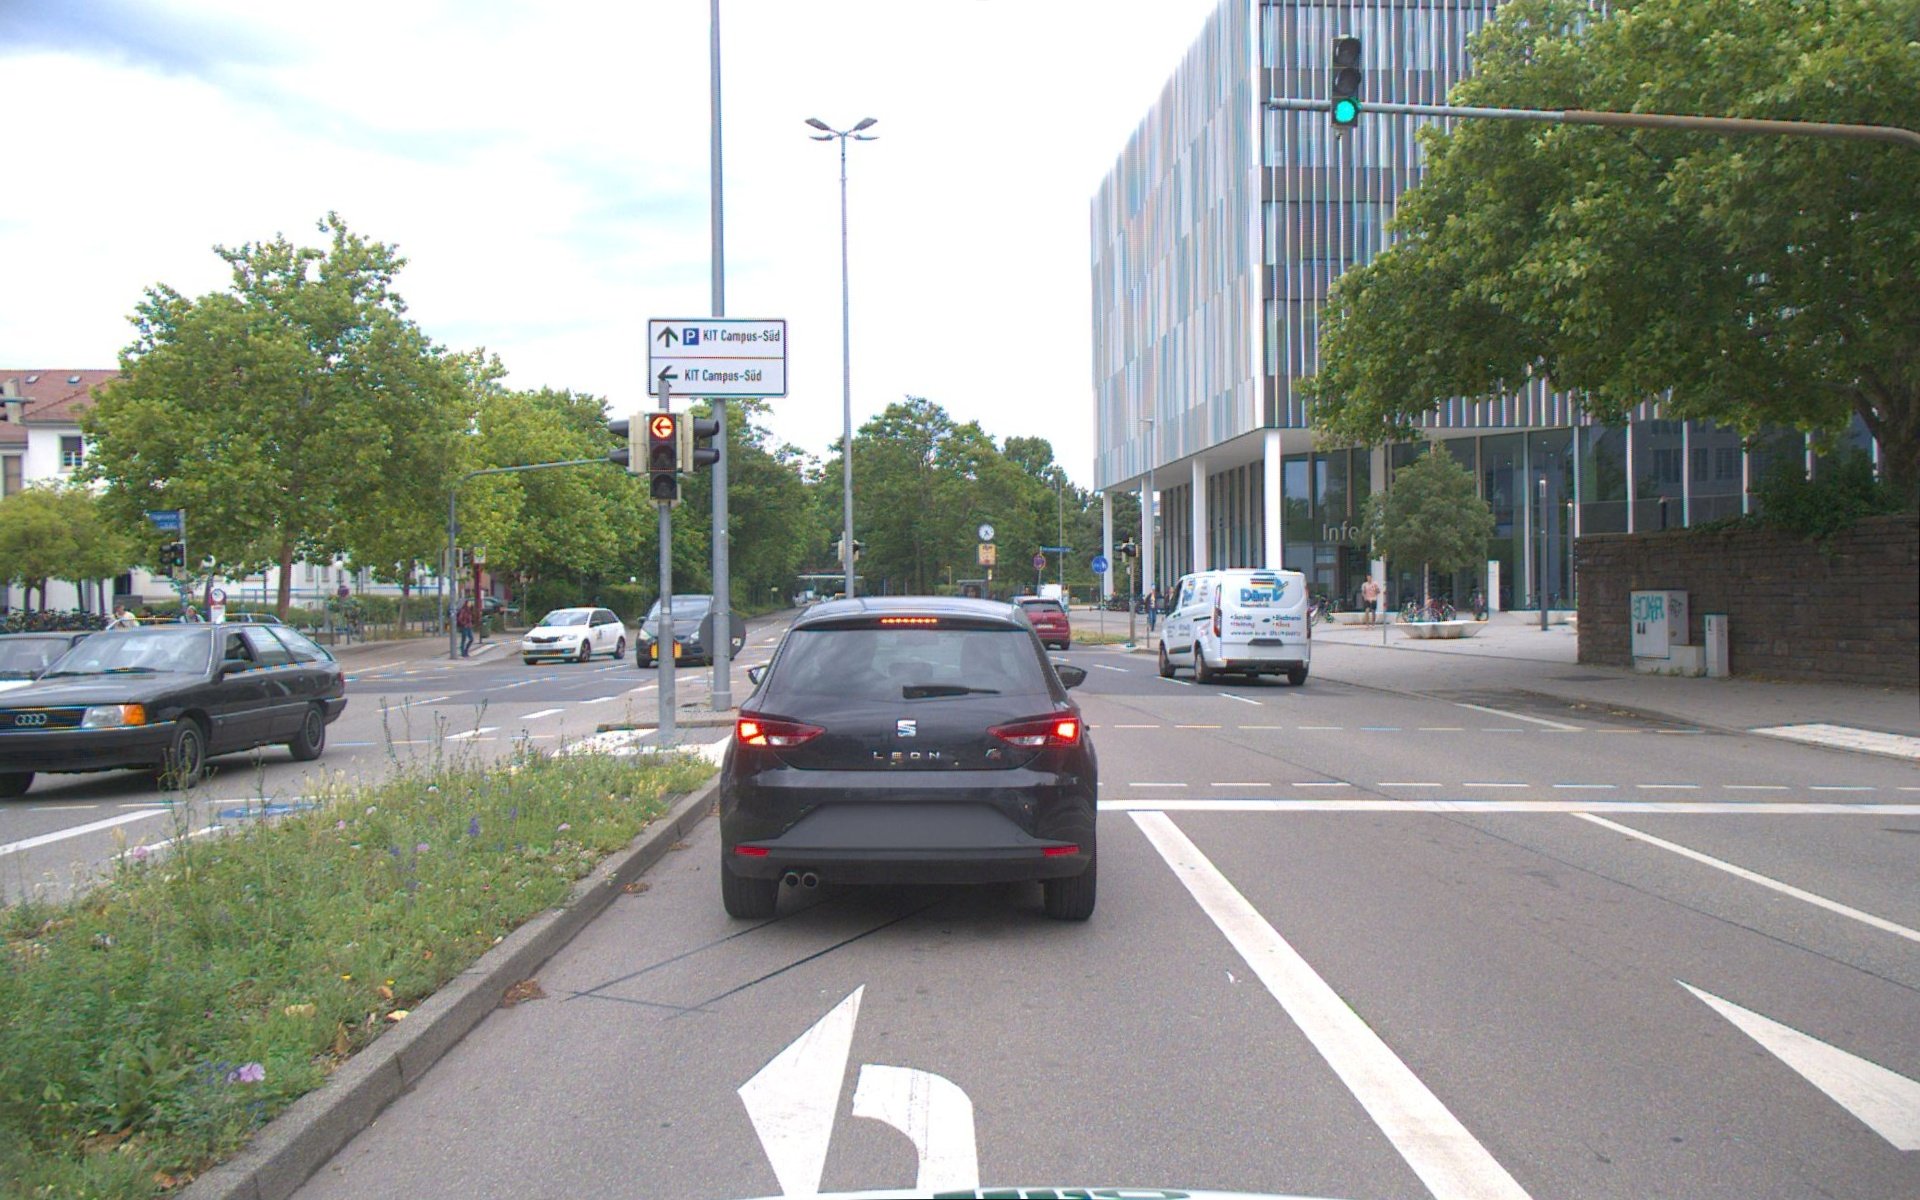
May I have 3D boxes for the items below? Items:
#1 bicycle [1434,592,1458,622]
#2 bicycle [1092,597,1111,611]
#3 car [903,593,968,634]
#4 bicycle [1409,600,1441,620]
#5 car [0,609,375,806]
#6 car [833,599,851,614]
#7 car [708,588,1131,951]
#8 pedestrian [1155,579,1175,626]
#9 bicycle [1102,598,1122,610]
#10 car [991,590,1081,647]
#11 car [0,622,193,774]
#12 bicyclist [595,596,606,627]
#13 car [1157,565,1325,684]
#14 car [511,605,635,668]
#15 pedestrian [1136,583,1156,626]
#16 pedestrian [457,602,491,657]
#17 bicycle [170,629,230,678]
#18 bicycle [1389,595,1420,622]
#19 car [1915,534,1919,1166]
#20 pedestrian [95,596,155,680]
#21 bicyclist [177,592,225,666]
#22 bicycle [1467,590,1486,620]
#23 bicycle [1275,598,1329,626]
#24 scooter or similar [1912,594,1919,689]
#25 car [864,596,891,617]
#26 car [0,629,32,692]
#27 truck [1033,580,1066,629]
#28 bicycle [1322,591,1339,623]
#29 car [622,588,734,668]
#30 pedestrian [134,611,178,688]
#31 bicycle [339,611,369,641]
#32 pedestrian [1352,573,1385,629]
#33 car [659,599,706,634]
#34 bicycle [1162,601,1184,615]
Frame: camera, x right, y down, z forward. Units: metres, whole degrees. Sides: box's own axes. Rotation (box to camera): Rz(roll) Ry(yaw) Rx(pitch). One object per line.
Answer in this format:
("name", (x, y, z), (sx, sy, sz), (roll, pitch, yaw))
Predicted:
("bicycle", (18.808, 0.256, 63.999), (0.792, 1.074, 1.950), (-2, 1, 19))
("bicycle", (9.667, 0.270, 113.167), (1.241, 0.863, 0.479), (2, -1, -24))
("car", (-1.108, 0.577, 73.247), (1.883, 1.693, 4.098), (-2, 1, -15))
("bicycle", (18.295, 0.379, 65.035), (1.515, 0.728, 0.511), (-3, 1, -44))
("car", (-7.208, 0.871, 15.339), (1.727, 1.486, 4.792), (-3, 0, 1))
("car", (-12.709, 0.688, 178.528), (1.663, 1.530, 4.003), (-2, 1, -7))
("car", (-0.112, 0.678, 8.646), (1.716, 1.457, 3.770), (1, 0, 2))
("pedestrian", (7.922, 0.093, 63.871), (0.673, 1.812, 0.677), (0, 0, -1))
("bicycle", (10.229, 0.270, 111.190), (1.218, 0.837, 0.479), (2, -1, -23))
("car", (2.310, 0.536, 50.977), (1.914, 1.652, 3.738), (0, 1, -12))
("car", (-10.146, 1.019, 18.253), (1.575, 1.405, 3.808), (-2, 1, -1))
("bicyclist", (-19.805, 0.642, 91.058), (0.481, 1.653, 0.588), (1, 1, -4))
("car", (5.070, 0.411, 30.459), (1.928, 2.007, 4.338), (1, 0, -6))
("car", (-10.396, 0.948, 44.740), (1.668, 1.456, 4.231), (-2, 1, 10))
("pedestrian", (7.181, 0.167, 63.782), (0.673, 1.668, 0.632), (0, 0, -1))
("pedestrian", (-14.686, 0.887, 50.025), (0.858, 1.614, 0.542), (-2, 0, -8))
("bicycle", (-17.438, 1.217, 37.986), (0.652, 1.081, 1.618), (1, -1, -2))
("bicycle", (17.667, 0.336, 65.718), (0.682, 0.963, 1.981), (-2, 1, 30))
("car", (3.364, 0.655, 2.266), (1.694, 1.631, 4.105), (0, 0, -1))
("pedestrian", (-18.318, 0.846, 36.296), (0.822, 1.770, 0.831), (-3, -4, 9))
("bicyclist", (-17.430, 0.666, 38.007), (0.652, 1.664, 0.961), (1, -1, -2))
("bicycle", (19.710, 0.196, 63.085), (0.609, 1.074, 1.950), (-2, 1, 19))
("bicycle", (12.512, 0.430, 60.511), (1.860, 0.914, 0.693), (-3, 1, -22))
("scooter or similar", (12.283, 0.543, 20.676), (0.423, 1.199, 1.703), (-3, 0, 23))
("car", (-6.014, 0.459, 120.190), (1.861, 1.377, 3.879), (-2, 1, -4))
("car", (-24.227, 1.429, 39.125), (3.586, 1.244, 1.562), (0, 7, -7))
("truck", (4.344, 0.183, 80.342), (1.291, 2.282, 3.401), (-2, 1, -1))
("bicycle", (15.400, 0.283, 68.746), (0.515, 1.275, 1.667), (-2, 1, 17))
("car", (-6.605, 0.630, 39.204), (1.882, 1.693, 4.398), (-3, 0, -1))
("pedestrian", (-17.126, 1.059, 35.231), (0.778, 1.585, 0.695), (0, -3, -21))
("bicycle", (-23.194, 1.002, 63.365), (0.596, 1.079, 2.041), (-2, 1, -7))
("pedestrian", (13.404, 0.029, 54.272), (0.830, 1.795, 0.767), (-2, 0, -1))
("car", (-15.174, 0.883, 90.673), (1.868, 1.746, 4.000), (-2, 1, -1))
("bicycle", (11.749, 0.421, 91.234), (1.213, 0.717, 0.489), (-2, 0, 8))
